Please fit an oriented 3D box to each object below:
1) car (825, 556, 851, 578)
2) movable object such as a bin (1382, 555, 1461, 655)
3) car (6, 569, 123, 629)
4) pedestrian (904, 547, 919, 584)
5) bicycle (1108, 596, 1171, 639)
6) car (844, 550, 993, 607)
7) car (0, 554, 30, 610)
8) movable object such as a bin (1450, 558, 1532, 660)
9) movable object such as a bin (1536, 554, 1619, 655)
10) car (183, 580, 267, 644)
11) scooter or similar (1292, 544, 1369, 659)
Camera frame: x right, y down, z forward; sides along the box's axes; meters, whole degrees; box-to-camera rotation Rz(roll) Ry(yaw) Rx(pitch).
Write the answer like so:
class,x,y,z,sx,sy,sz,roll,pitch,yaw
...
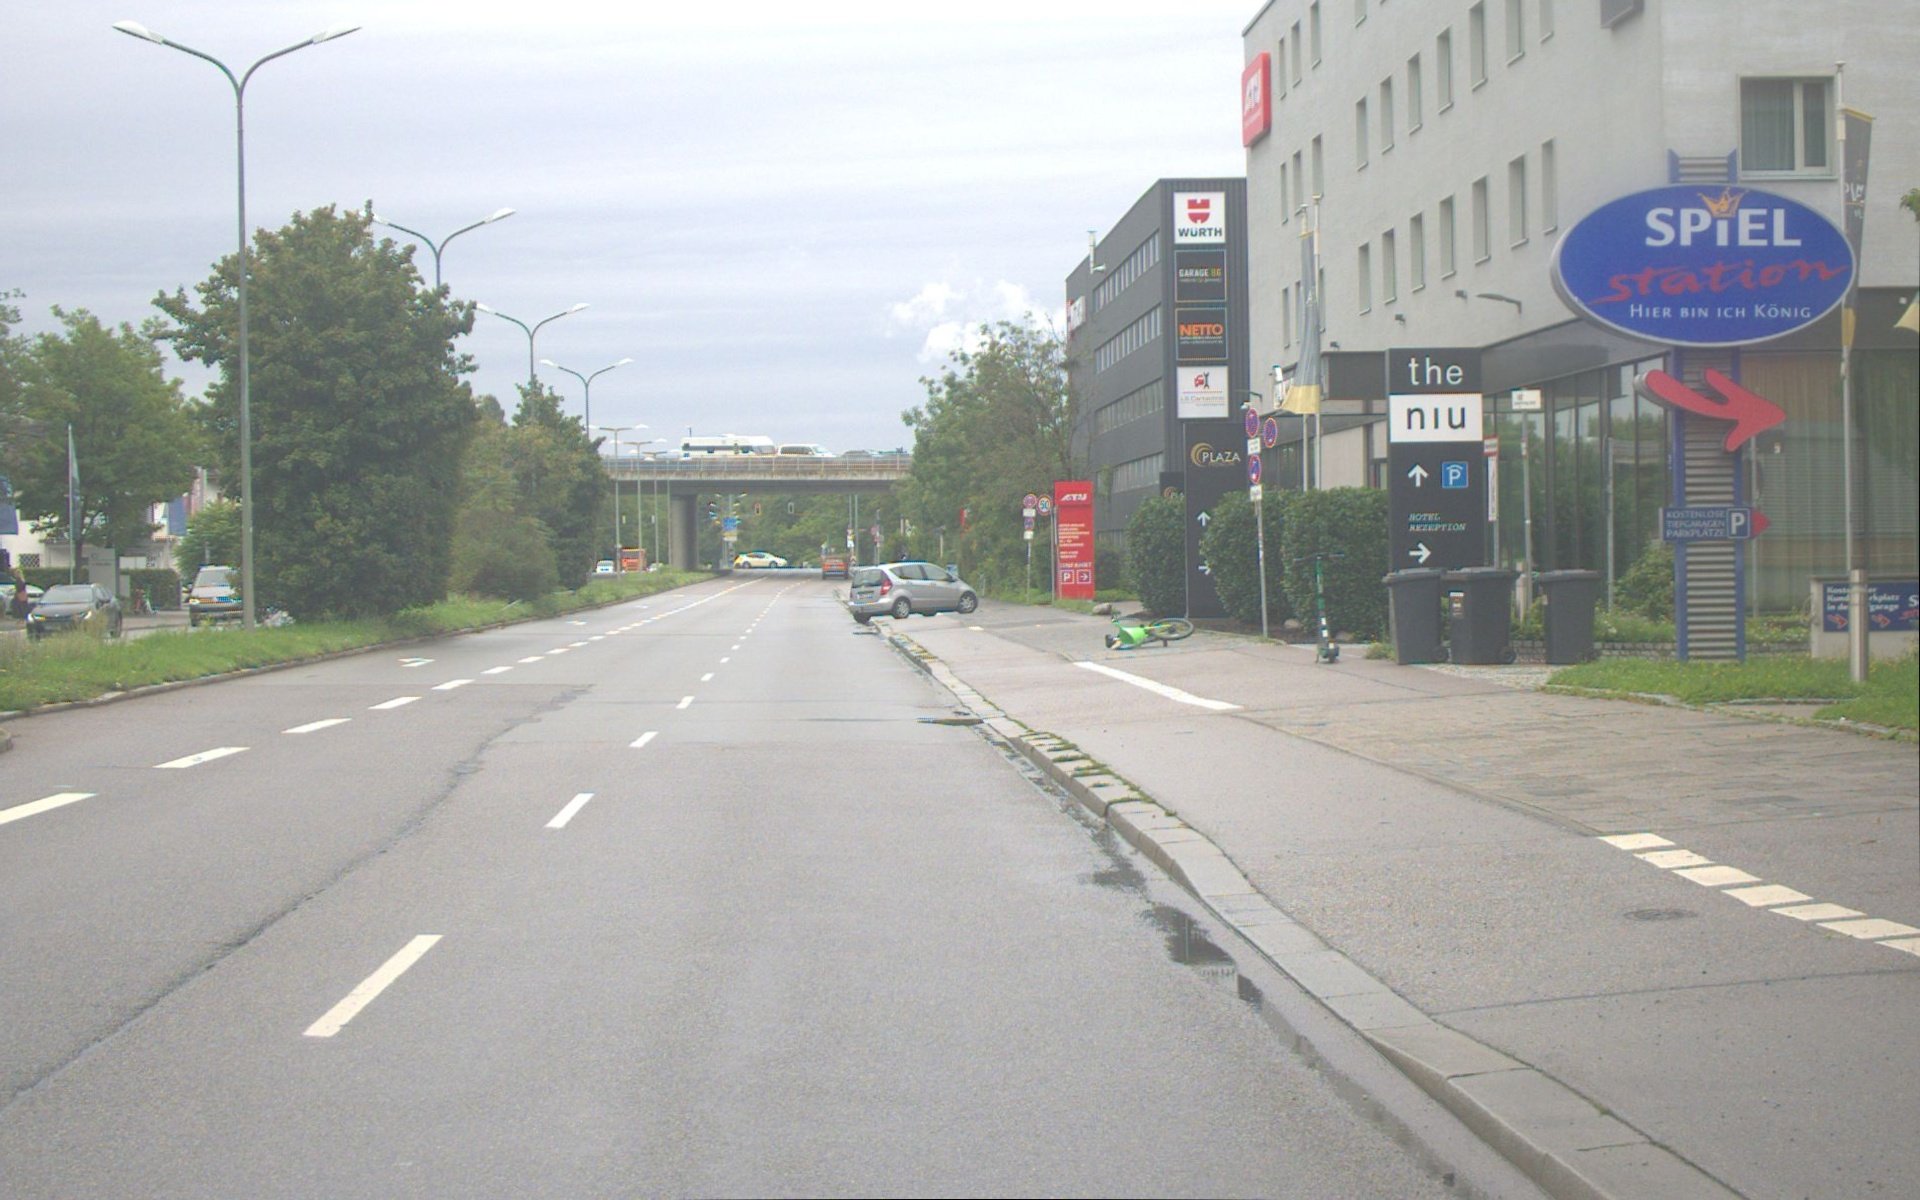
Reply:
class,x,y,z,sx,sy,sz,roll,pitch,yaw
car,-8.565,-2.322,240.893,1.735,1.543,4.305,0,1,-3
movable object such as a bin,5.145,0.052,38.375,0.737,1.074,0.655,-2,1,-2
car,-22.913,-0.045,88.146,1.993,1.396,4.655,-2,1,-4
pedestrian,-2.533,-1.802,178.370,0.688,1.869,0.662,-2,1,-3
bicycle,2.653,0.253,50.896,0.719,0.547,1.732,-4,1,-3
car,-1.134,-0.619,95.922,4.016,1.552,1.819,-1,1,-44
car,-33.814,-0.527,115.523,4.631,1.836,1.801,-3,1,-25
movable object such as a bin,5.805,0.092,37.625,0.737,1.074,0.655,-2,1,-2
movable object such as a bin,6.785,0.047,37.809,0.737,1.074,0.655,-2,1,-2
car,-24.234,0.380,113.477,1.993,1.954,4.325,-2,1,-4
scooter or similar,4.345,0.005,40.387,0.585,1.273,1.404,-6,1,-2
